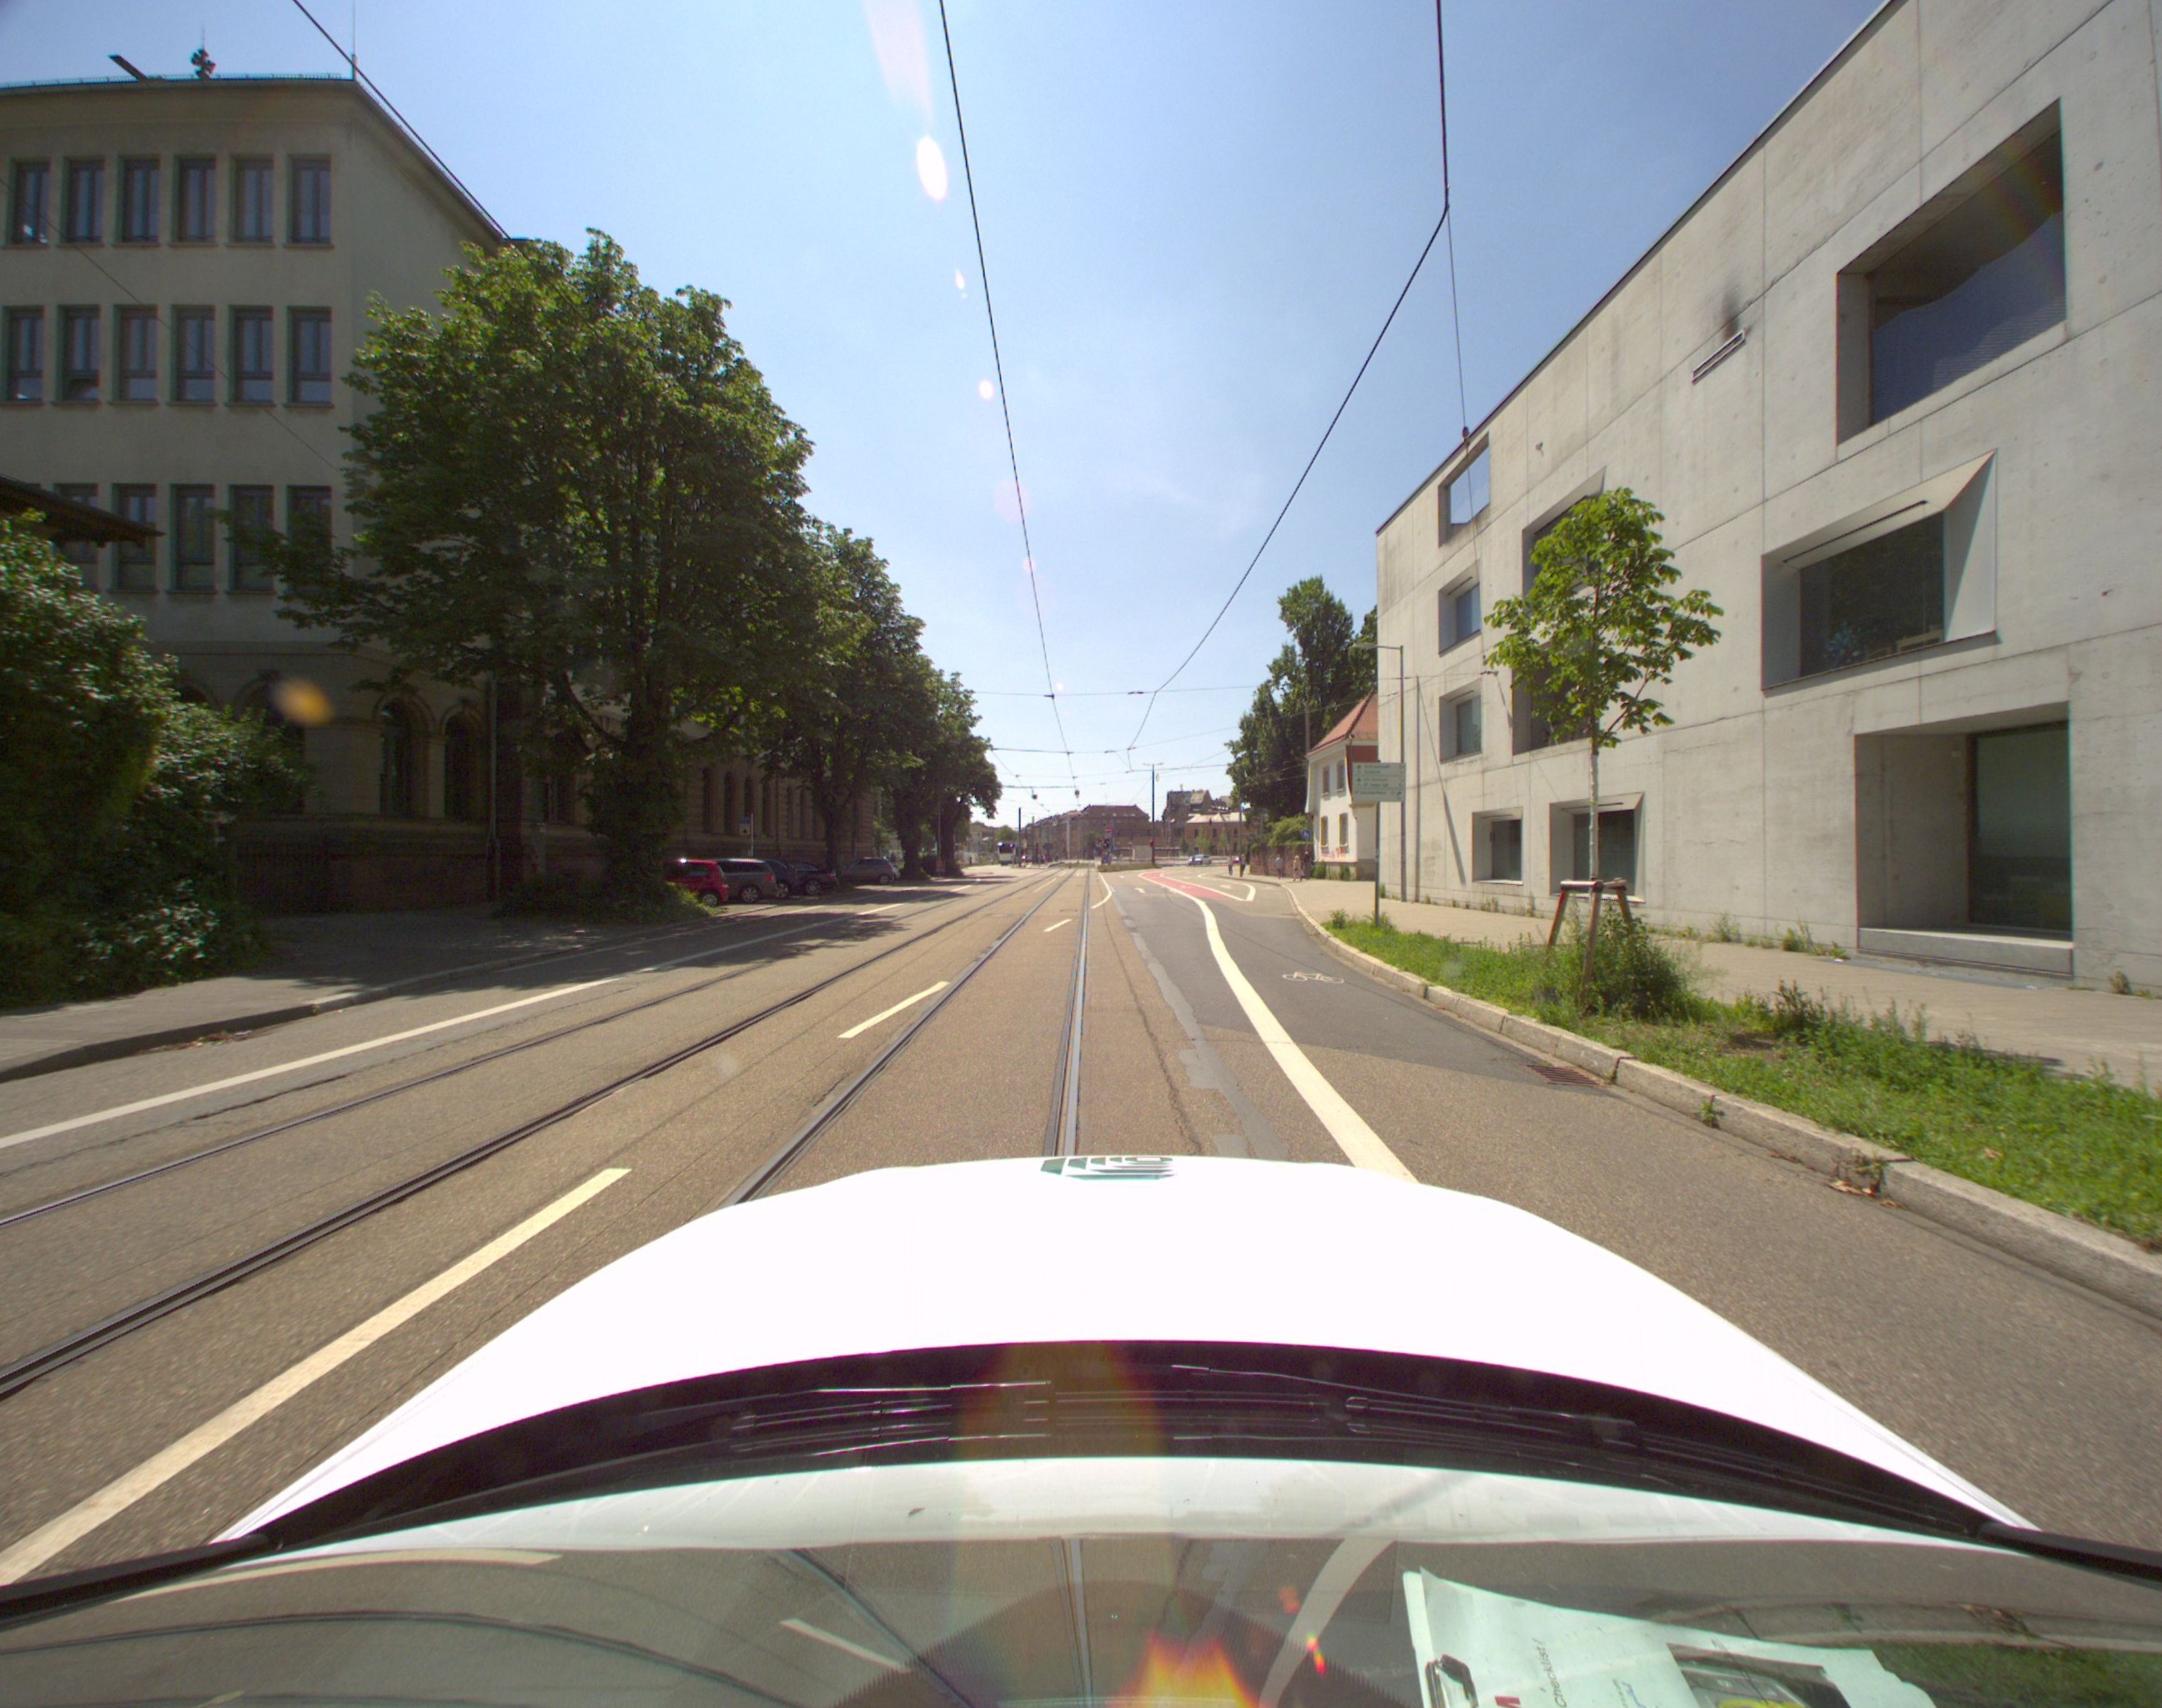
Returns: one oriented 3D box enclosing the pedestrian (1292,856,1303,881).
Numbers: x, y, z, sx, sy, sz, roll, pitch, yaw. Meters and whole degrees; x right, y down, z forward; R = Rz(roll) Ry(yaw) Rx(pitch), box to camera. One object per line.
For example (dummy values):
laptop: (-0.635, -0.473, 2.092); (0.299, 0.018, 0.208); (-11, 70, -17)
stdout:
pedestrian: (13.120, 0.871, 49.347); (0.513, 1.533, 0.598); (0, -1, 6)

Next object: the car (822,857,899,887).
car: (-11.841, 0.976, 43.748); (3.685, 1.520, 1.654); (2, -1, -28)

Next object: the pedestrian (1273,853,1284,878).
pedestrian: (13.398, 0.770, 55.339); (0.657, 1.647, 0.625); (0, -1, 6)

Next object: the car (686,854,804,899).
car: (-12.325, 0.779, 29.882); (3.828, 1.577, 1.777); (0, 0, -29)

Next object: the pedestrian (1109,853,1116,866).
pedestrian: (4.624, 0.869, 120.785); (0.771, 1.864, 0.722); (2, -2, -40)

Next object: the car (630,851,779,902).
car: (-12.429, 0.760, 26.970); (4.333, 1.584, 1.654); (2, -1, -29)

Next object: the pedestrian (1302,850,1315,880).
pedestrian: (13.889, 0.684, 49.799); (0.623, 1.773, 0.721); (-3, 1, 12)

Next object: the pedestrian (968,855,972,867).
pedestrian: (-15.353, 0.982, 113.017); (0.565, 1.705, 0.396); (0, 0, -7)

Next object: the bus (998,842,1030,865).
bus: (-9.953, -0.045, 123.249); (2.999, 3.158, 17.502); (0, 0, 1)

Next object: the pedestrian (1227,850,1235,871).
pedestrian: (12.921, 0.577, 70.193); (0.674, 1.808, 0.749); (0, -1, 5)

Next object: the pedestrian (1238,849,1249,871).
pedestrian: (13.950, 0.519, 69.918); (0.810, 1.808, 0.701); (0, -1, 5)

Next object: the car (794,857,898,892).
car: (-9.742, 0.811, 33.725); (3.940, 1.374, 1.655); (0, 0, -25)

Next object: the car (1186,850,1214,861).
car: (16.232, 0.177, 111.098); (1.974, 1.438, 4.735); (0, -1, 34)

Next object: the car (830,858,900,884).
car: (-12.245, 0.977, 46.252); (3.557, 1.406, 1.687); (1, -1, -28)

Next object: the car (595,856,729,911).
car: (-12.221, 0.848, 23.932); (3.358, 1.516, 1.655); (1, -1, -25)

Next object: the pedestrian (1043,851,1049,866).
pedestrian: (-4.775, 0.611, 111.025); (0.672, 1.909, 0.638); (0, -1, -9)
